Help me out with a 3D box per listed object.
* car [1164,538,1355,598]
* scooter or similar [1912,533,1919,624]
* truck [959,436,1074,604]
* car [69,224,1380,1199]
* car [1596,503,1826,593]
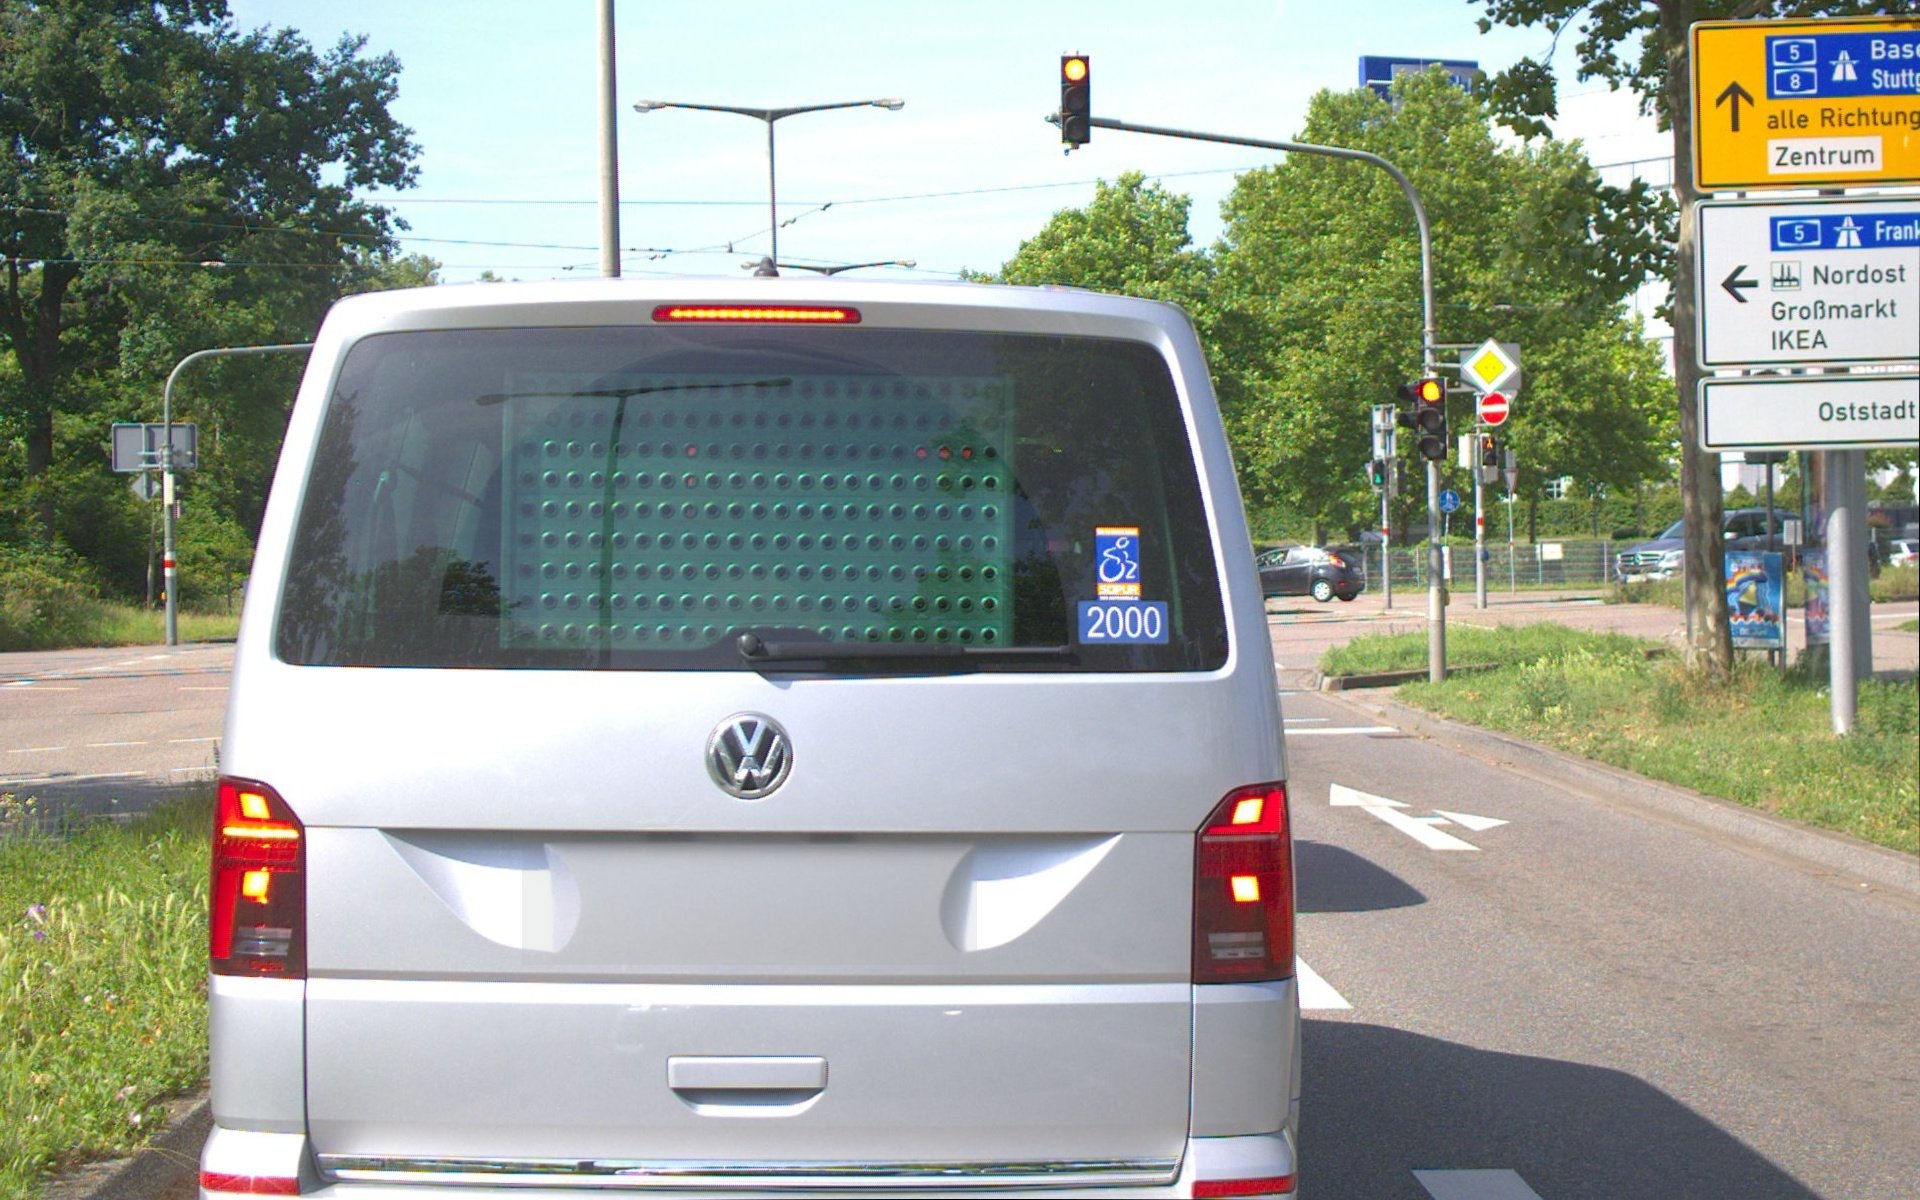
[{"bbox_3d":[7.639,-0.811,87.925,4.621,1.439,1.778,-1,1,37],"label":"car"},{"bbox_3d":[12.126,-0.265,42.396,0.424,1.122,1.124,-1,1,-1],"label":"scooter or similar"},{"bbox_3d":[1.337,-1.974,86.082,2.552,3.943,8.975,-1,1,-1],"label":"truck"},{"bbox_3d":[-0.374,0.390,7.645,1.941,1.965,5.022,-1,1,-1],"label":"car"},{"bbox_3d":[15.048,-1.053,68.814,4.613,1.683,1.915,-2,1,-37],"label":"car"}]
